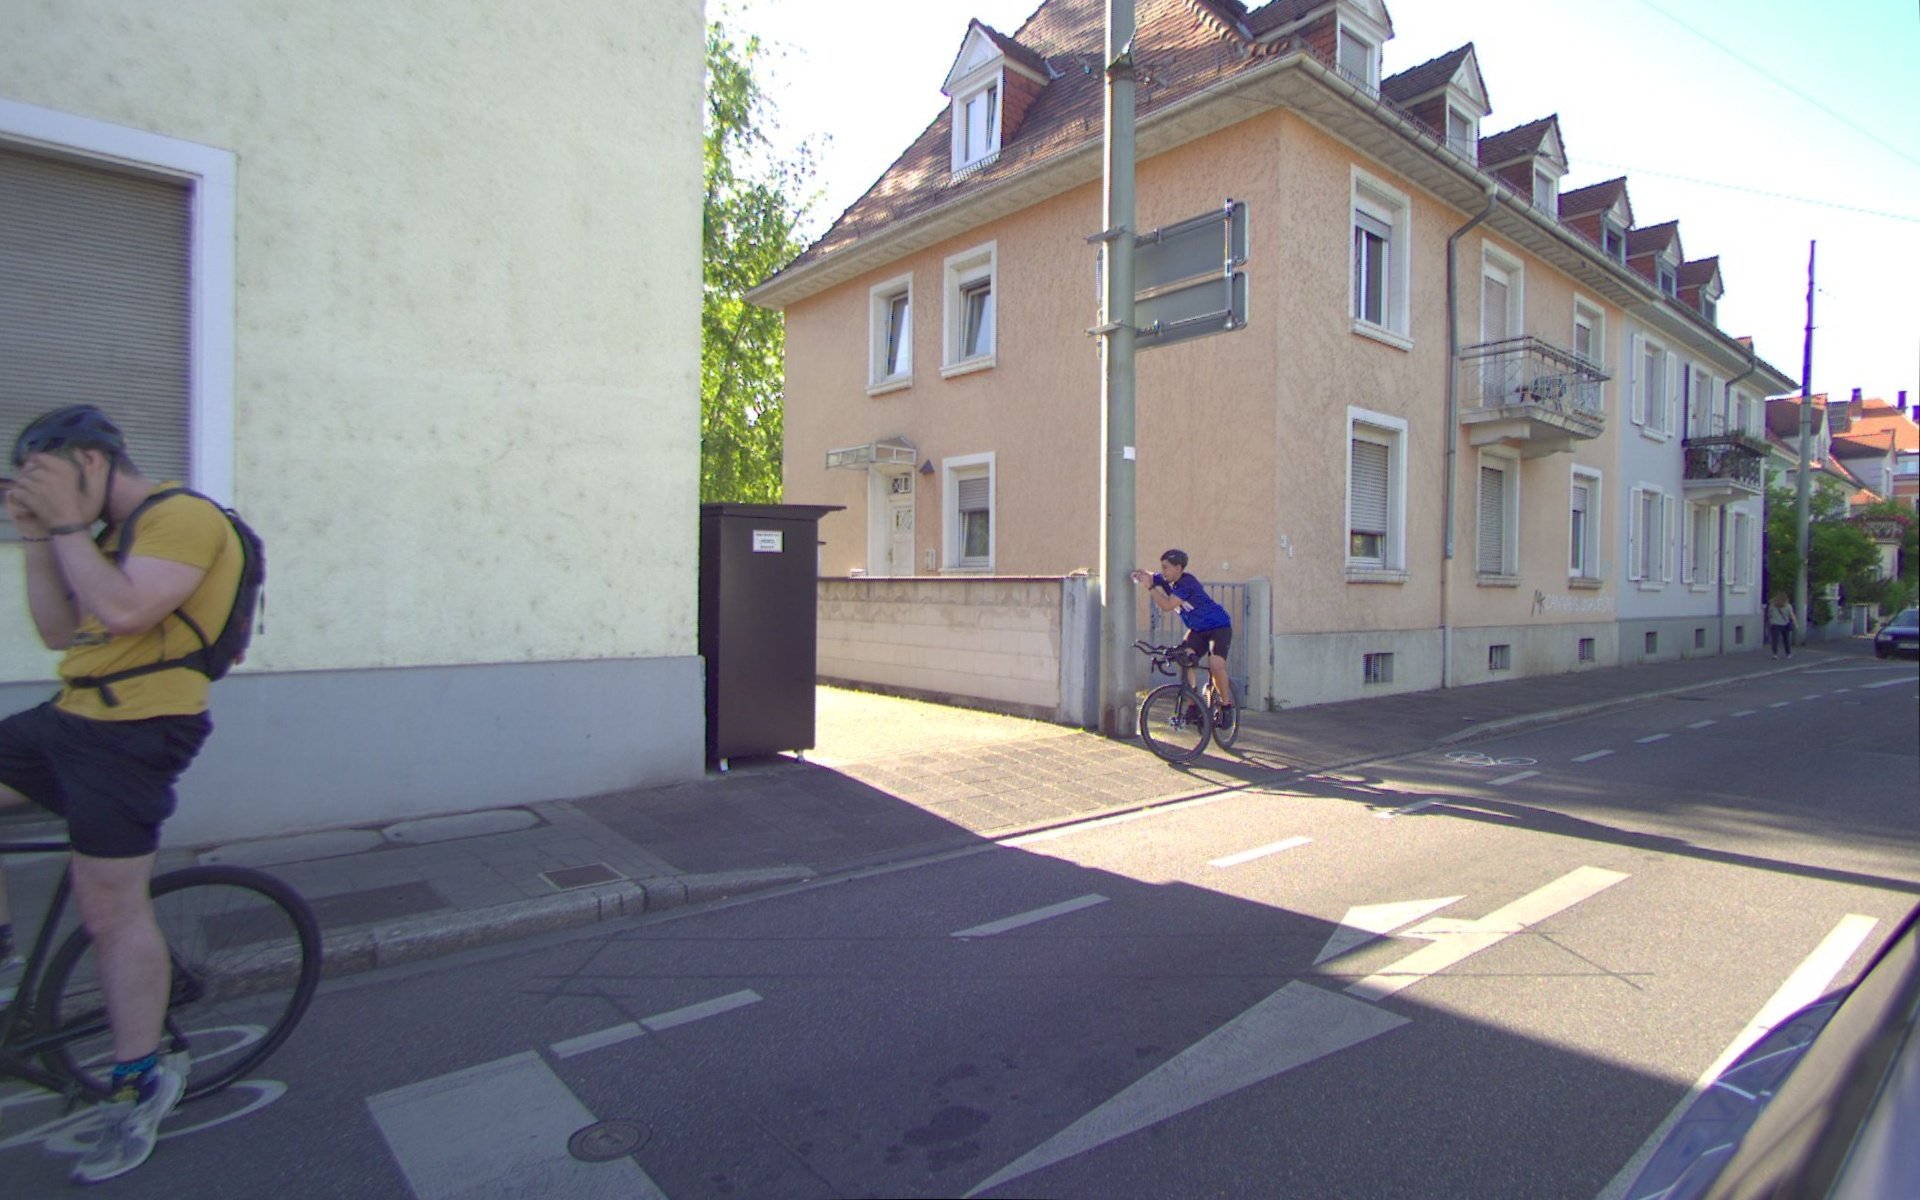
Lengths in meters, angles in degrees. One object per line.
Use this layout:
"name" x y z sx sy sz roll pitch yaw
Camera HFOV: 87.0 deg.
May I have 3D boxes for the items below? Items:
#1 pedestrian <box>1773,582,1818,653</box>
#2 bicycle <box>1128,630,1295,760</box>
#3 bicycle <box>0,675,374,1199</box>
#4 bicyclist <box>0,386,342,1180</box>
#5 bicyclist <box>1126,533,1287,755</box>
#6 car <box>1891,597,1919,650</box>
"pedestrian" 20.487 0.414 24.812 1.079 1.682 0.694 0 0 -41
"bicycle" 2.315 0.816 9.211 1.669 1.003 0.572 0 4 -41
"bicycle" -2.478 0.842 2.537 1.669 1.180 0.572 0 1 -41
"bicyclist" -2.302 0.420 2.702 1.018 1.840 0.653 0 1 -41
"bicyclist" 2.282 0.359 9.436 0.831 1.887 1.076 0 4 -40
"car" 26.697 0.627 27.345 3.796 1.382 1.648 0 1 -38
